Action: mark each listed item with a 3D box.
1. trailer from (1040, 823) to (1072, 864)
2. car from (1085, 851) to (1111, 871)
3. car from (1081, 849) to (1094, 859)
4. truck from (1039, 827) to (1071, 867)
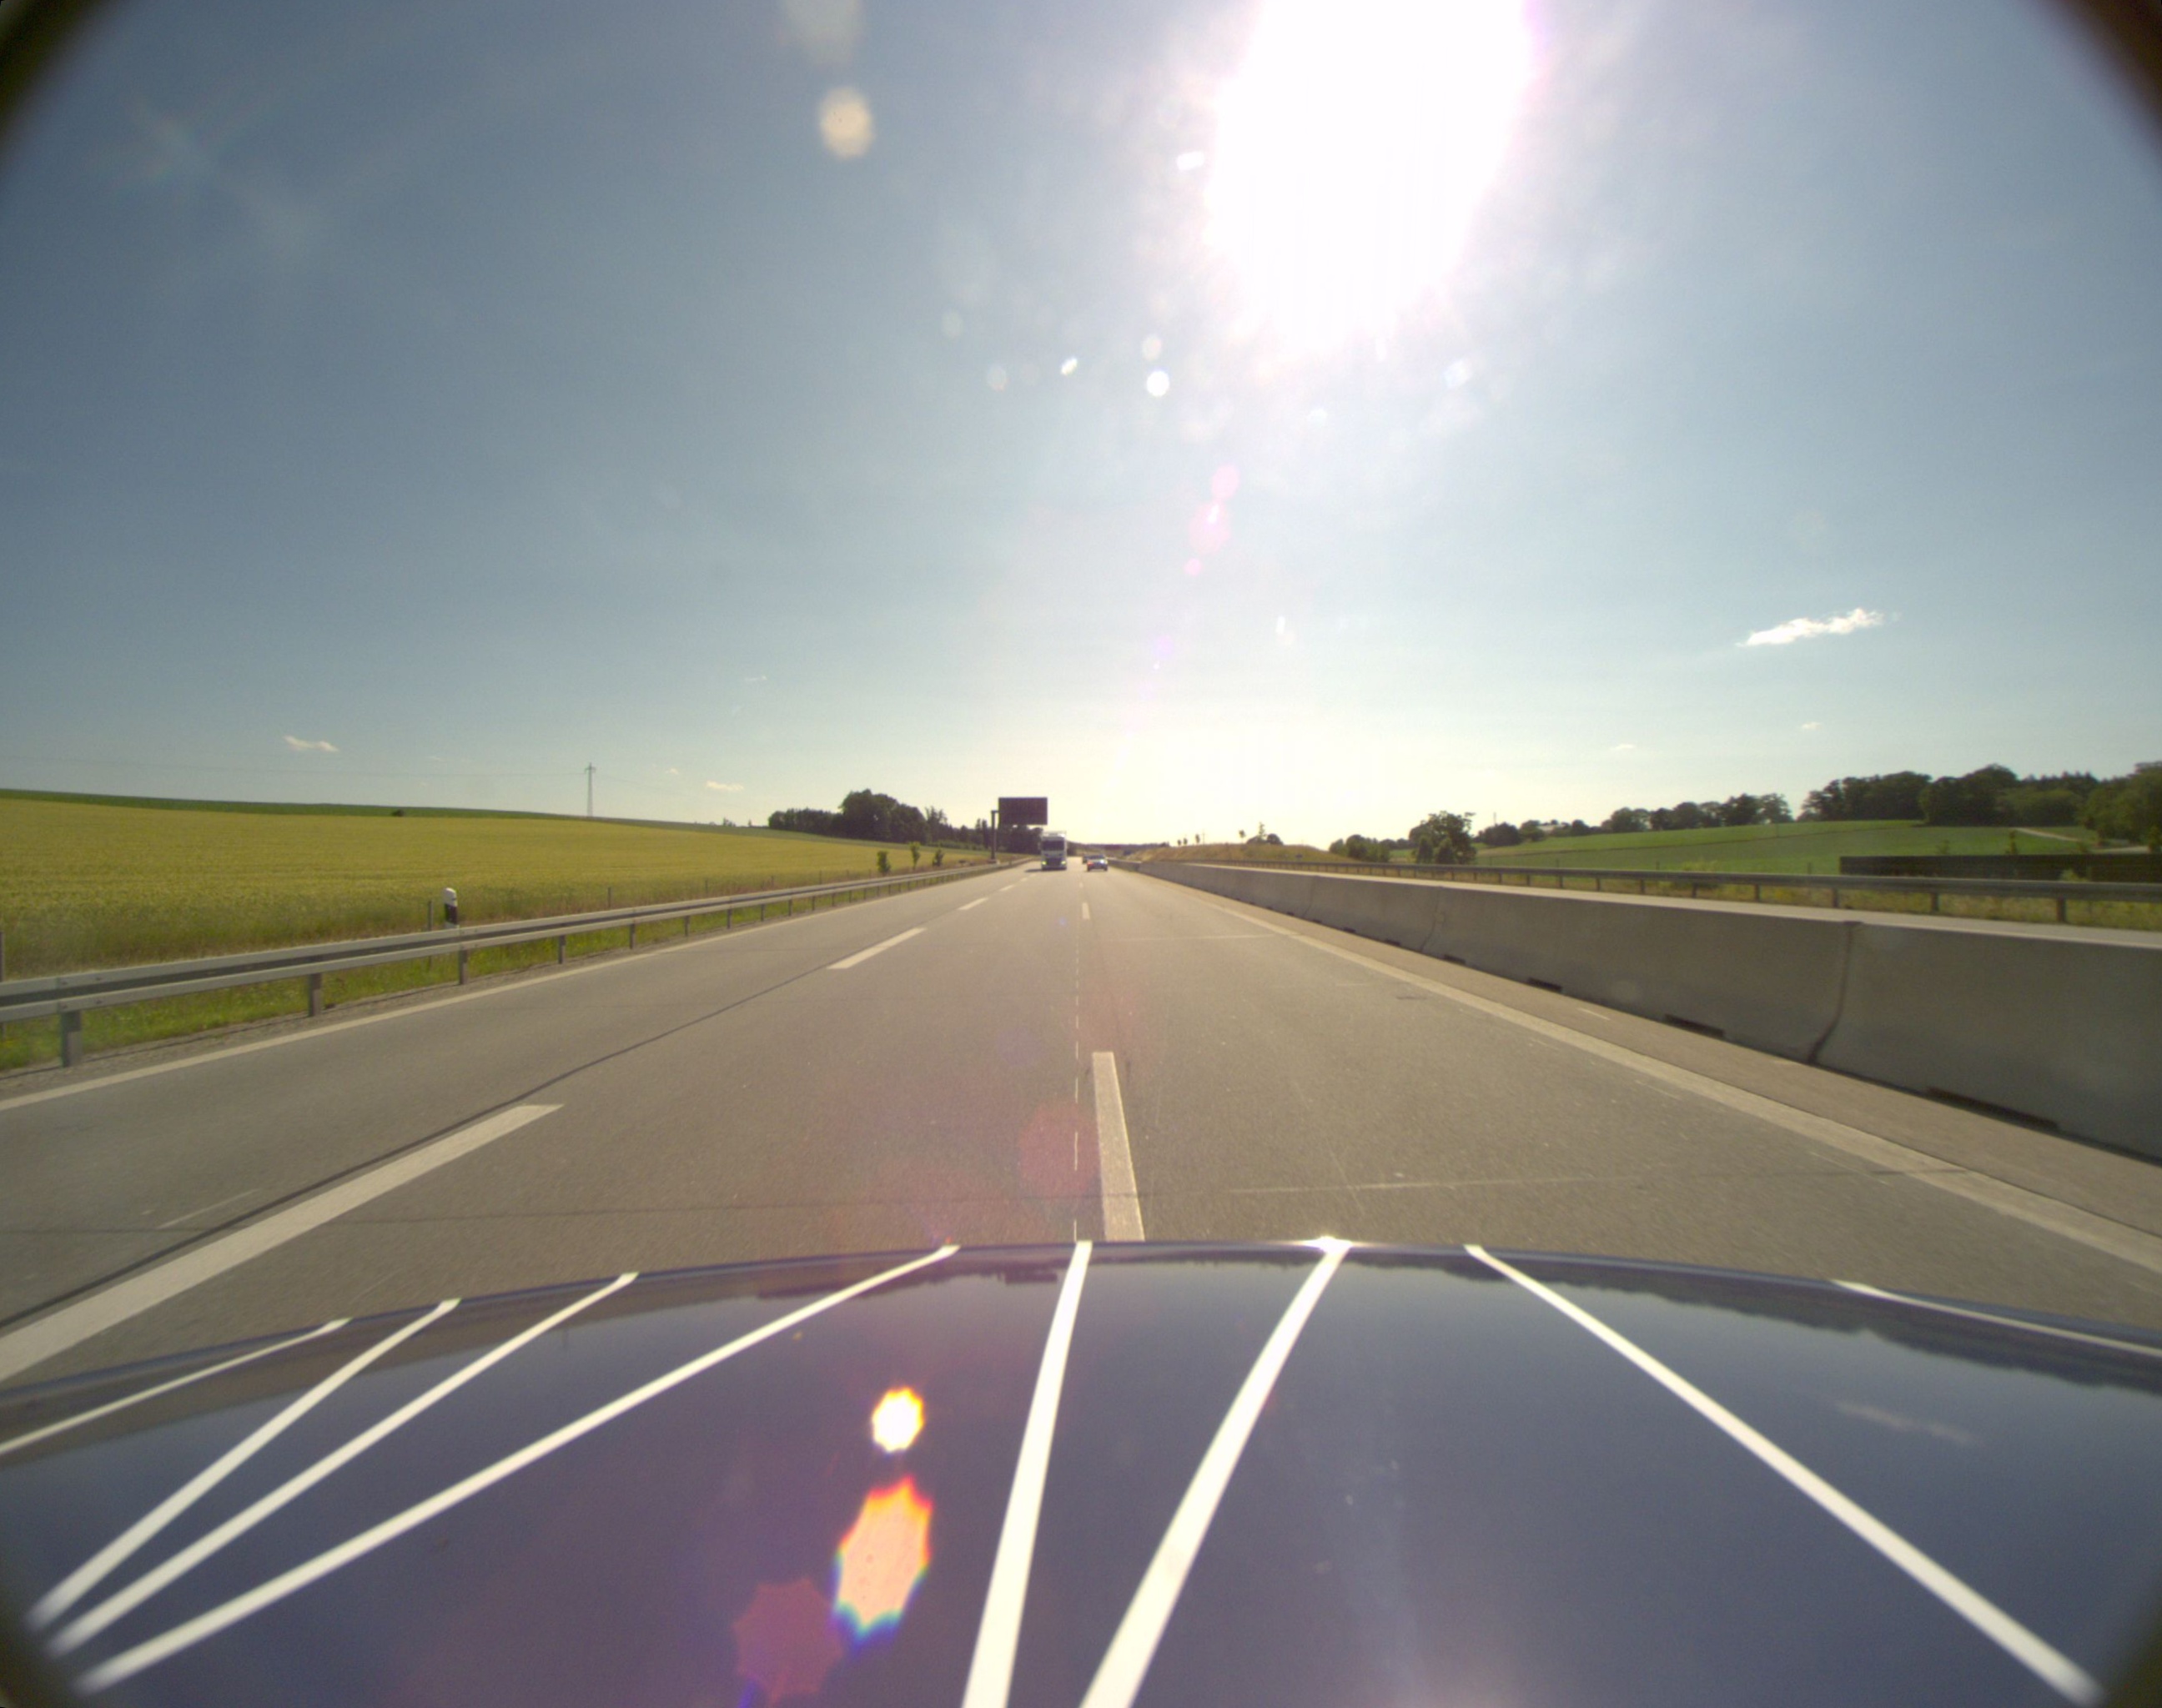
[{"bbox_3d":[-2.674,-1.124,87.263,3.184,4.269,15.457,1,0,0],"label":"trailer"},{"bbox_3d":[1.499,0.599,65.529,1.891,1.565,3.793,-3,0,5],"label":"car"},{"bbox_3d":[1.071,-0.065,121.700,1.899,1.560,4.001,1,0,3],"label":"car"},{"bbox_3d":[-2.632,-0.709,78.382,3.090,3.991,6.188,1,1,0],"label":"truck"}]
